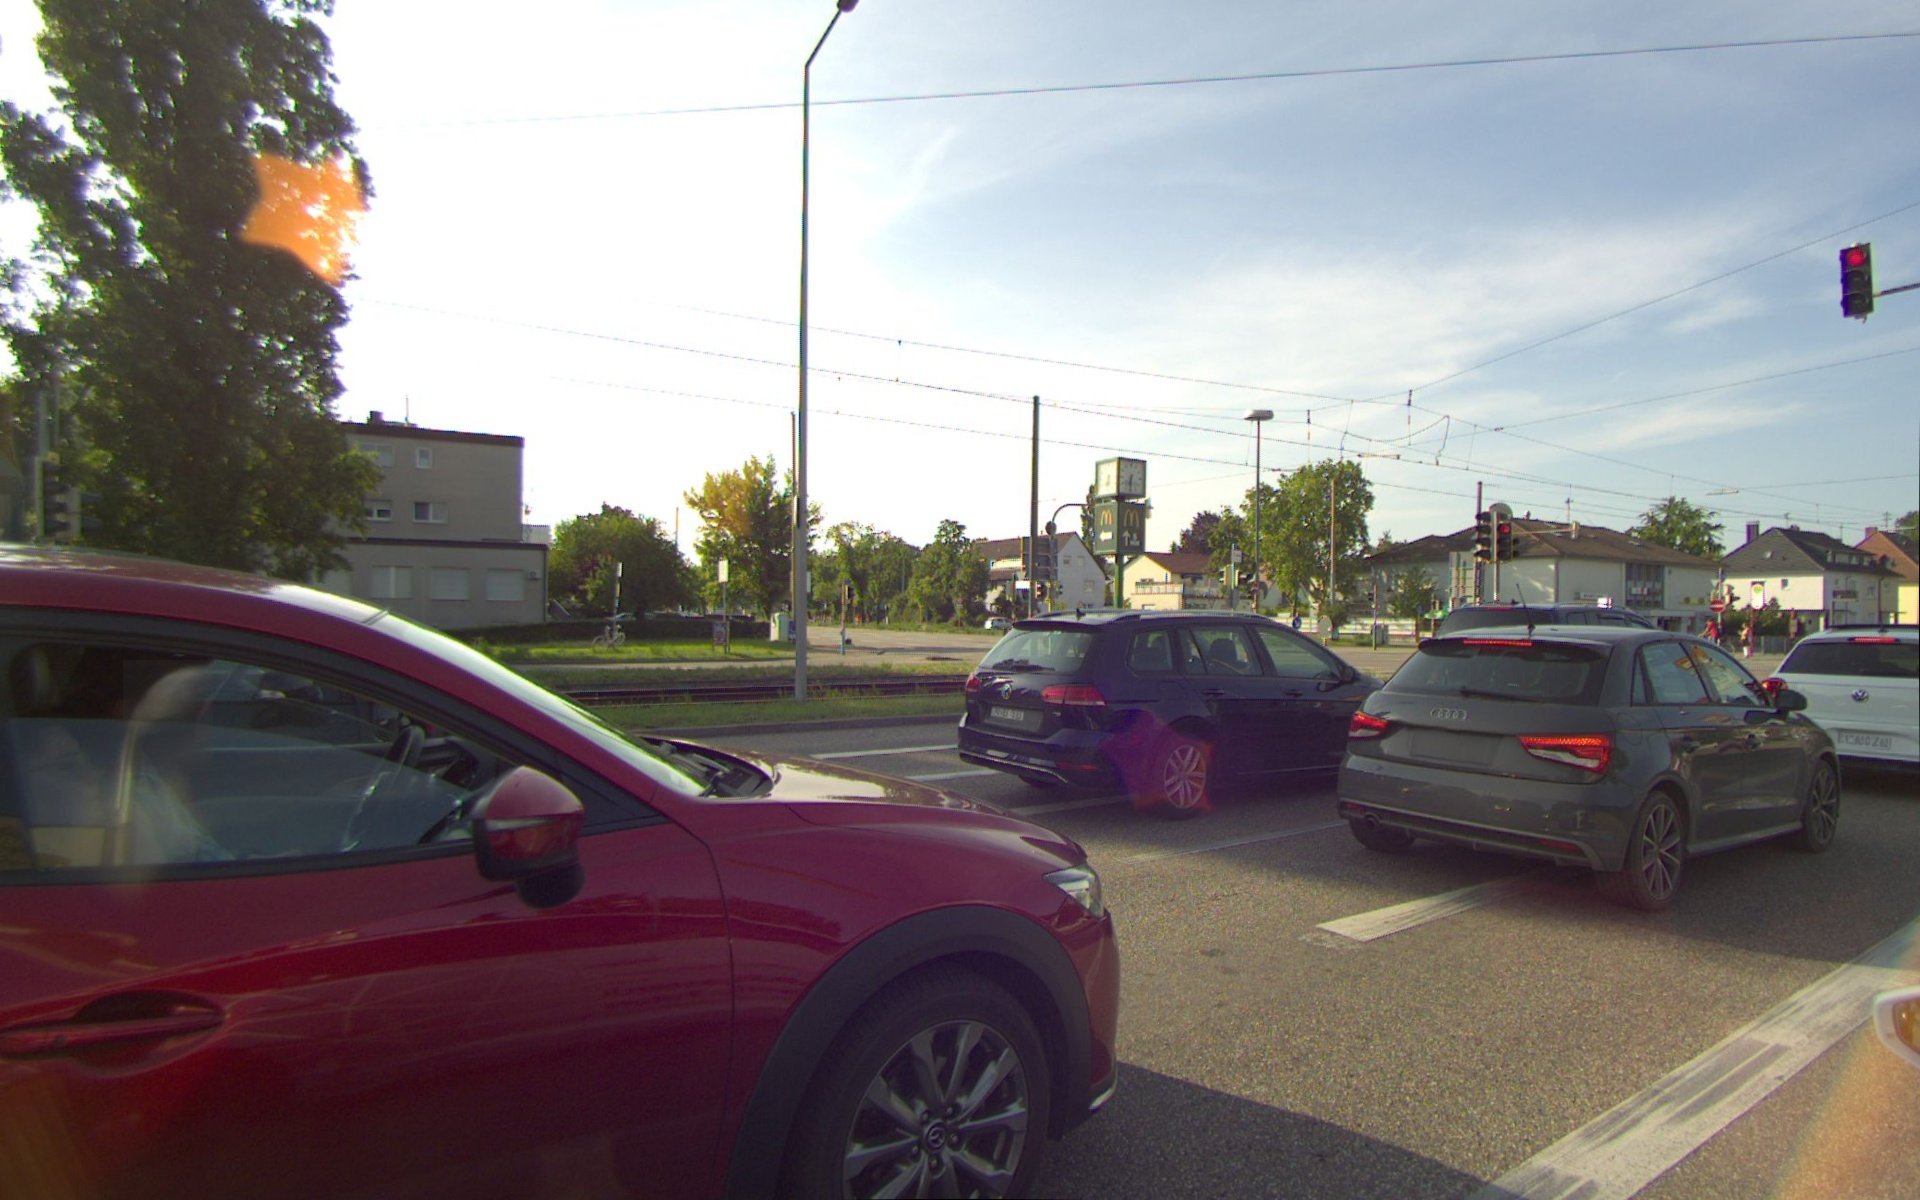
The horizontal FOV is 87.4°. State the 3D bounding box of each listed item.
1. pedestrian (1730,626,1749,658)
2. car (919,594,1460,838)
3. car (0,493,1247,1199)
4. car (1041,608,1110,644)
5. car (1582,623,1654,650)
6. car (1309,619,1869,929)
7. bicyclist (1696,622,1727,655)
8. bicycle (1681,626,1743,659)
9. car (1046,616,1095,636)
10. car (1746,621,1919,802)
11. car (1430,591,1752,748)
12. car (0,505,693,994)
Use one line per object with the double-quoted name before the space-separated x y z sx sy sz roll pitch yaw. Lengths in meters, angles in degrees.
"pedestrian" 36.422 1.978 46.921 0.543 1.450 0.573 2 0 -39
"car" 2.028 0.770 8.258 4.505 1.528 1.690 1 0 -33
"car" -1.349 0.672 2.133 3.938 1.572 1.695 1 -1 -35
"car" 6.049 1.355 53.011 1.502 1.816 3.966 1 -1 -31
"car" 39.186 2.158 59.778 4.561 1.528 1.981 2 -1 -34
"car" 4.100 0.851 6.374 3.787 1.415 1.632 1 -1 -34
"bicyclist" 33.990 1.744 45.440 1.128 1.450 0.876 2 0 -43
"bicycle" 34.001 1.902 45.433 1.100 1.365 2.055 2 0 -42
"car" 10.432 2.456 94.590 4.166 1.706 1.986 2 0 -27
"car" 9.200 0.954 9.605 3.975 1.462 1.645 1 -1 -36
"car" 7.993 0.793 12.579 4.690 1.673 1.499 1 -1 -31
"car" -3.460 0.522 4.451 4.044 1.693 1.751 1 0 -36
